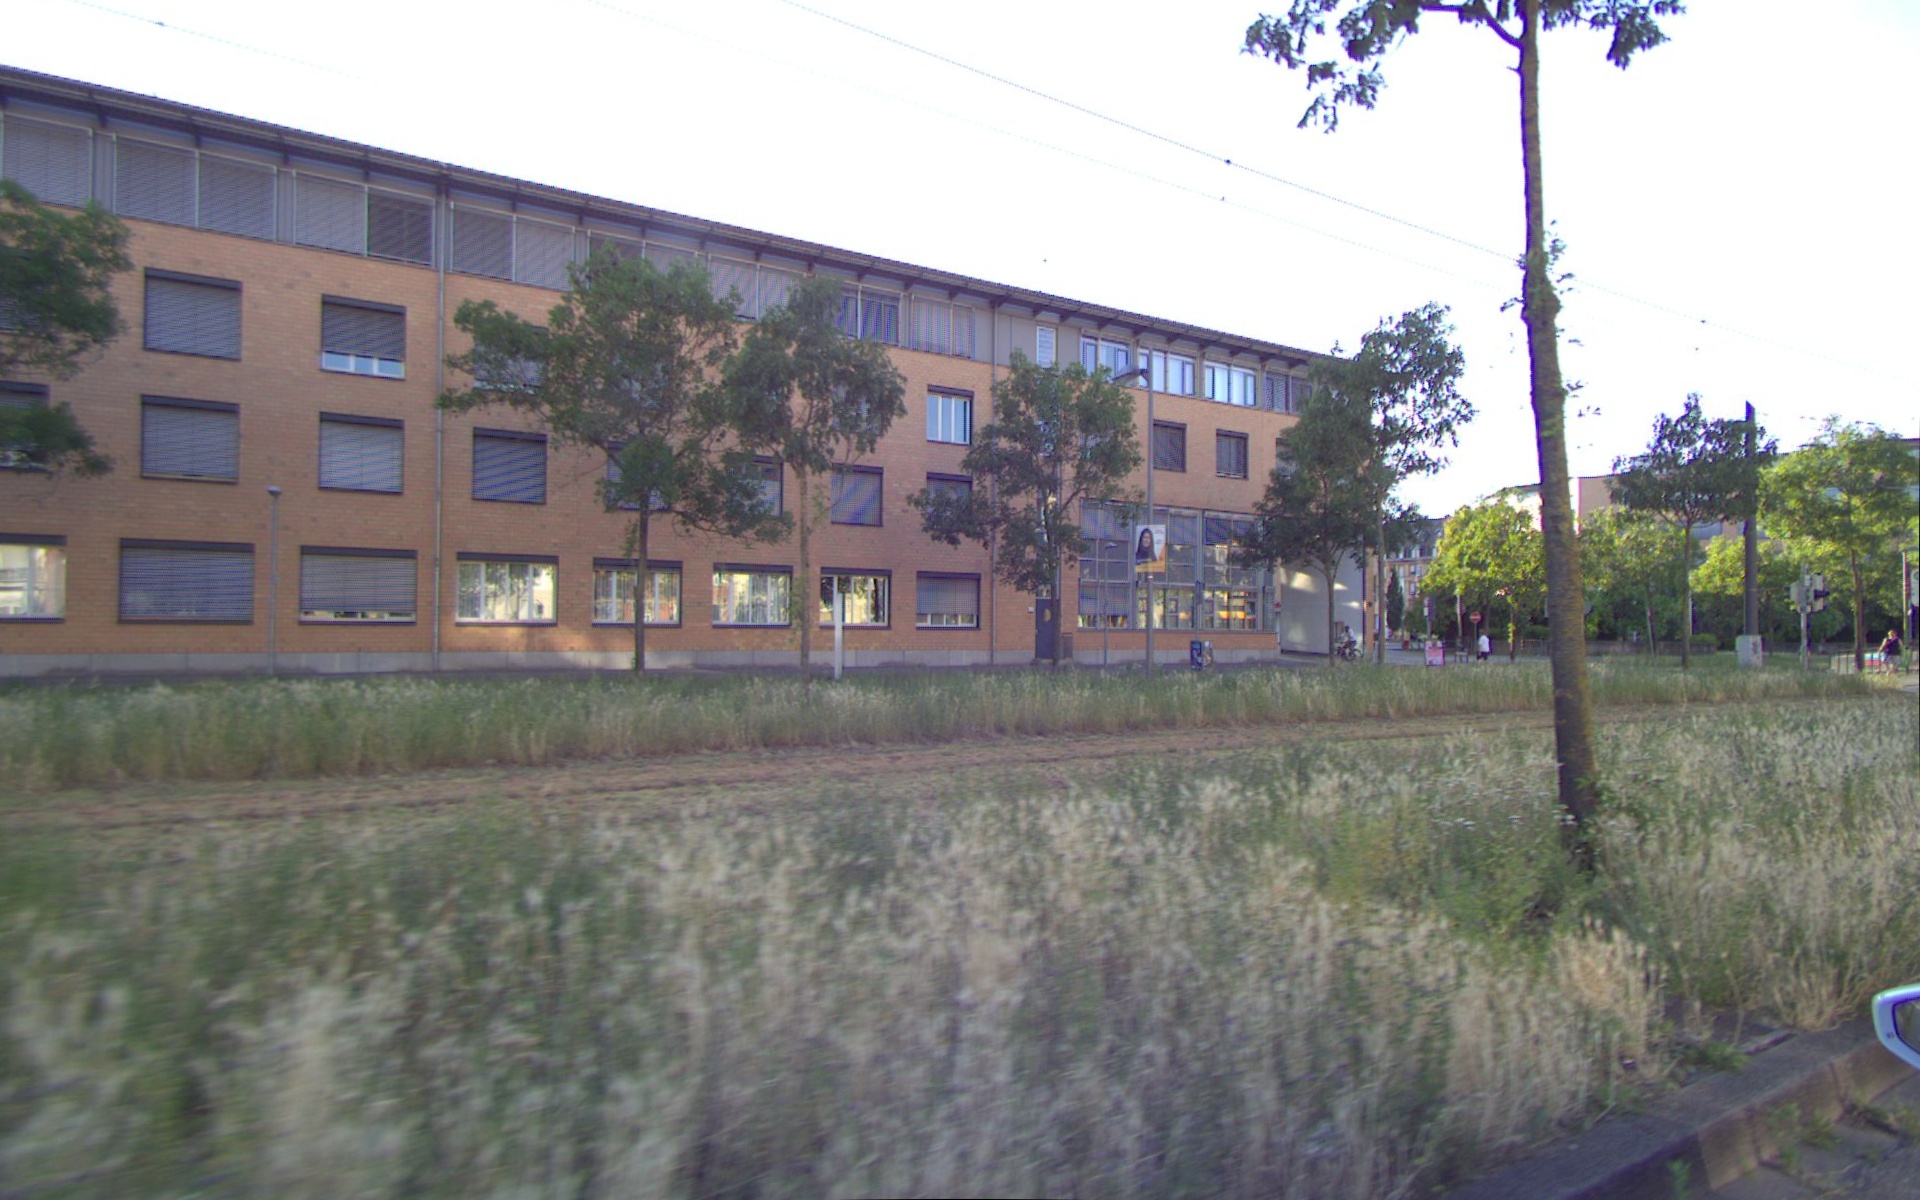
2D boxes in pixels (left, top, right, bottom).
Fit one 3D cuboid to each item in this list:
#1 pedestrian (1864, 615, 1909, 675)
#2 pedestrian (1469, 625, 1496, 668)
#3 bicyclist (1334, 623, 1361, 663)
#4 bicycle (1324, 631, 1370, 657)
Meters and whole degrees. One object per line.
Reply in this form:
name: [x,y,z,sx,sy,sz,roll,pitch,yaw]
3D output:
pedestrian: [32.518,1.571,35.266,0.946,2.040,0.930,1,-1,-30]
pedestrian: [21.169,1.874,40.678,0.822,1.720,0.683,1,-1,-38]
bicyclist: [16.582,1.831,42.990,0.815,1.696,0.692,1,-1,-30]
bicycle: [16.564,1.886,42.988,2.069,1.066,0.706,2,-1,-30]
